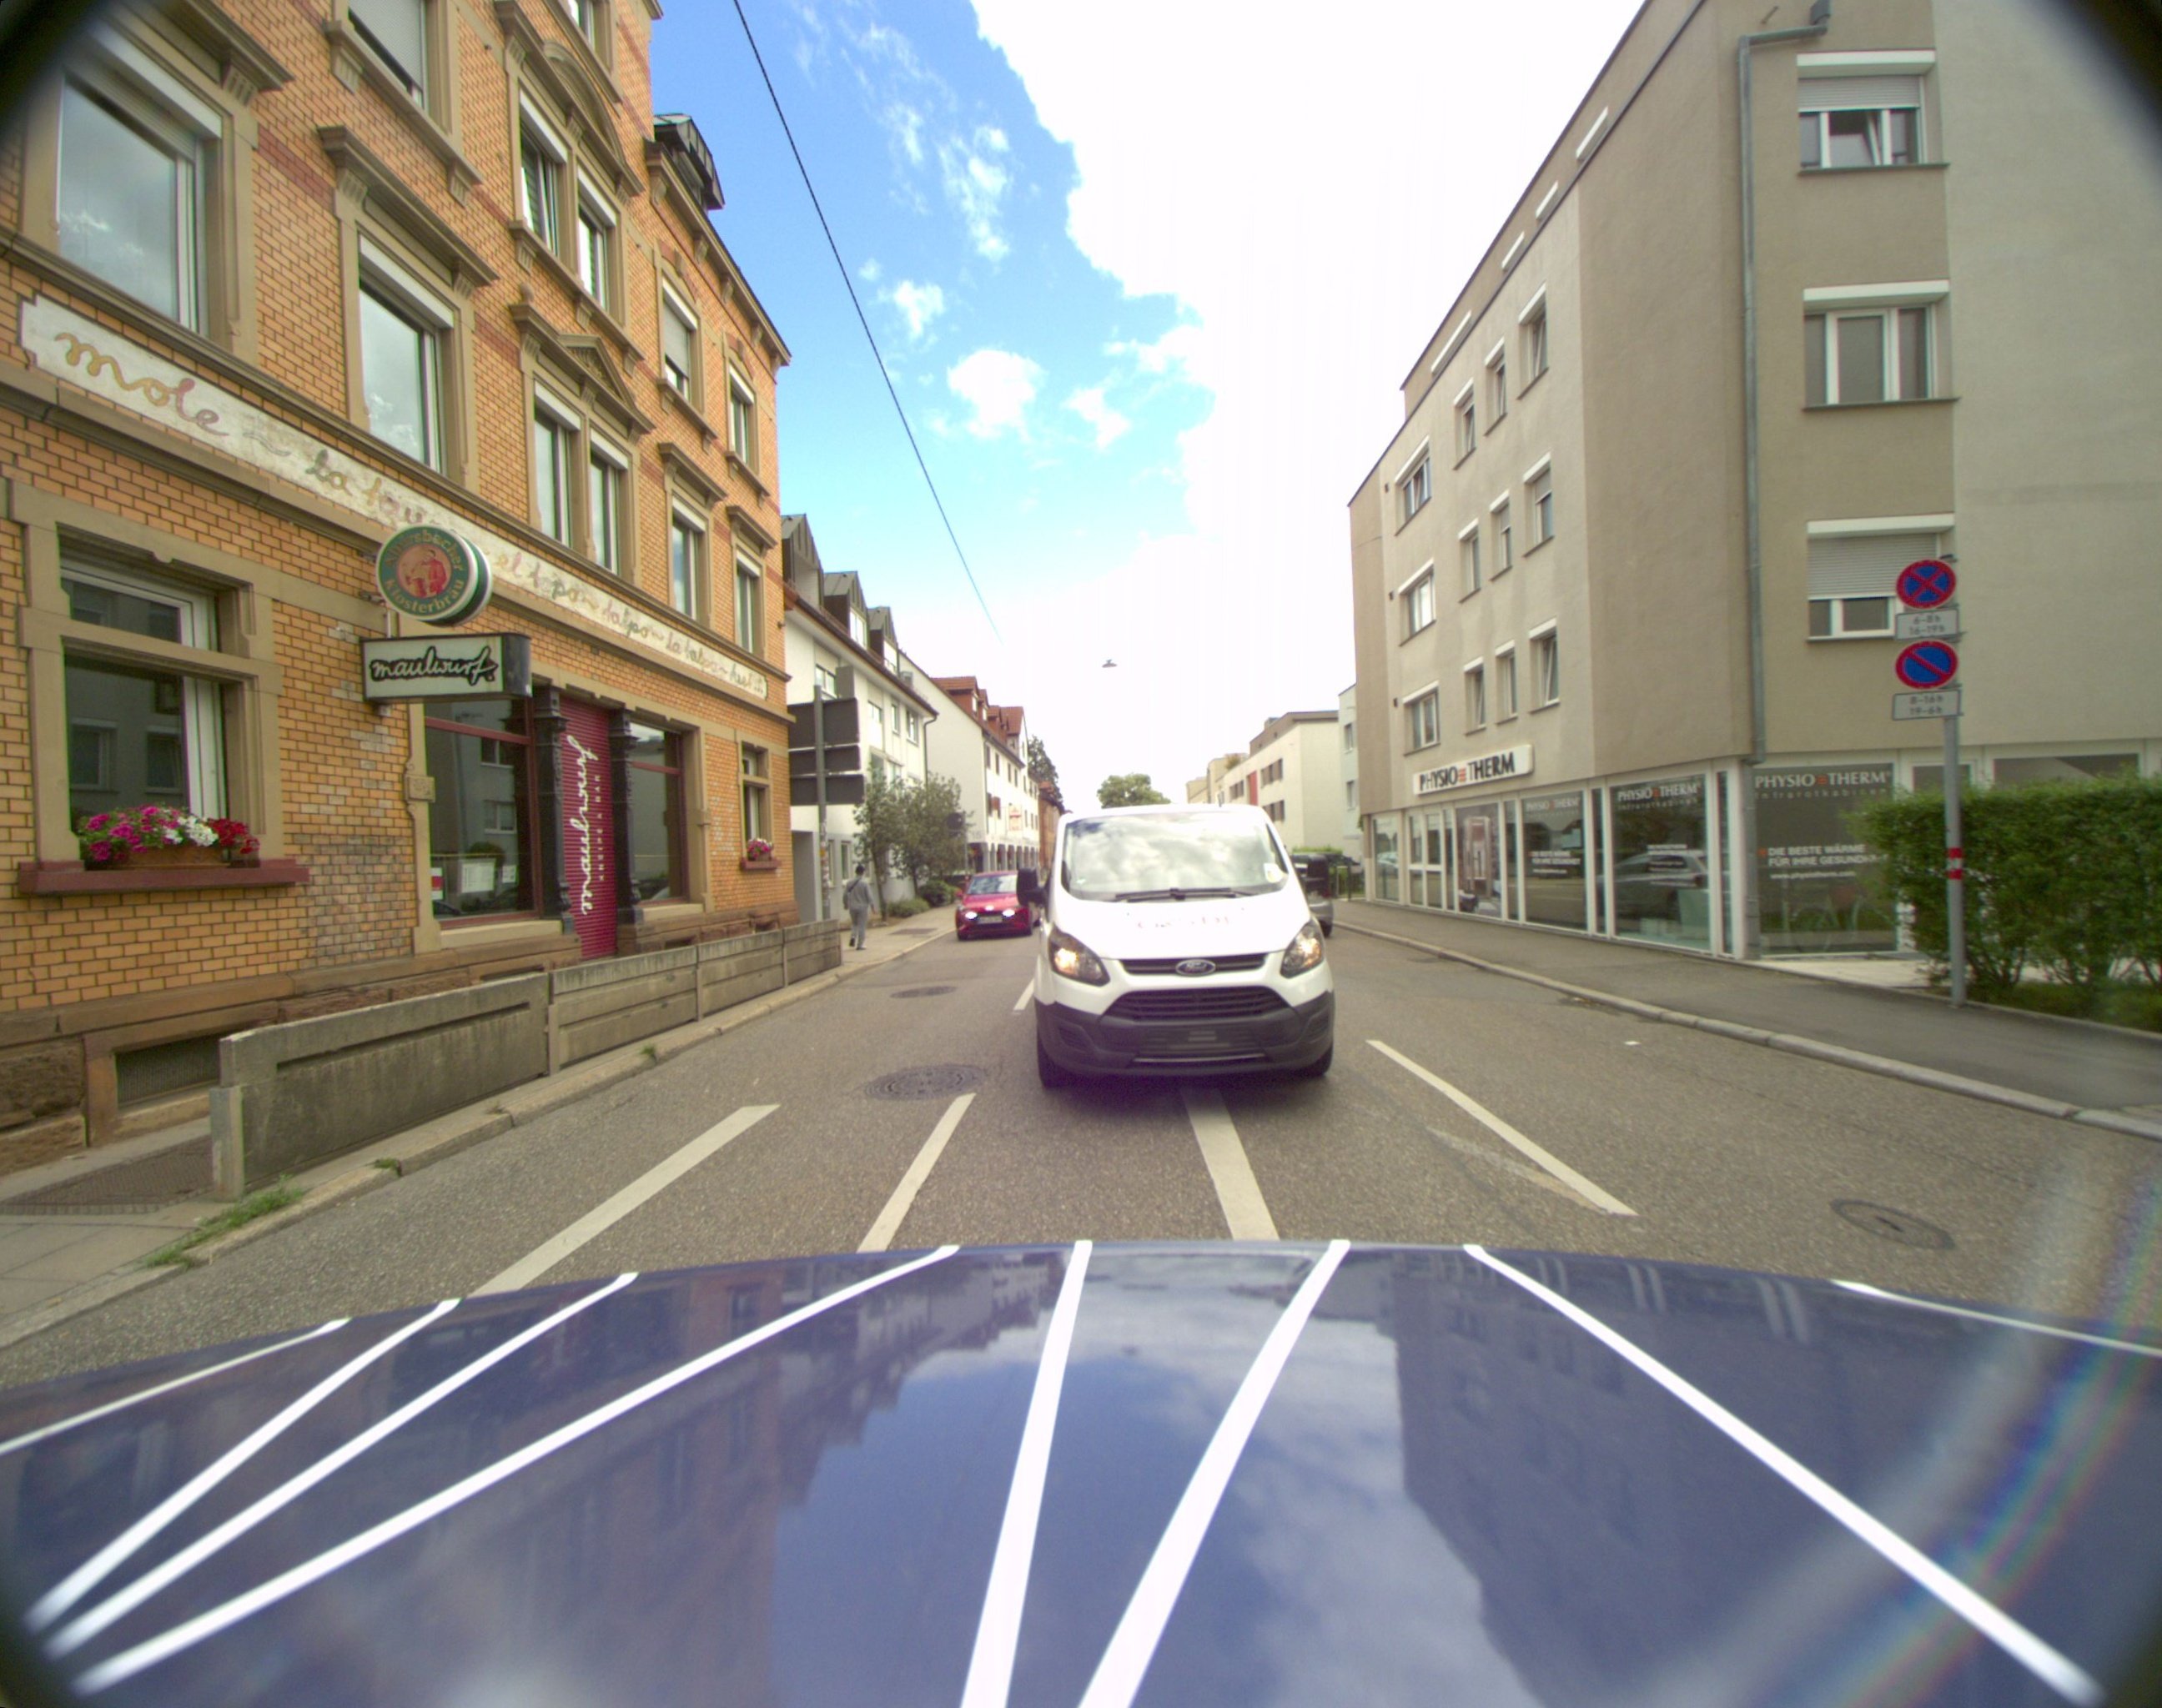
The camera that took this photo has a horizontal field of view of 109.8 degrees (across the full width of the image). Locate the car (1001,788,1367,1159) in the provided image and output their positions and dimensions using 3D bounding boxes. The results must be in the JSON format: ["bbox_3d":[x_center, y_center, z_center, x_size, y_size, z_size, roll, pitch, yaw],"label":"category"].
[{"bbox_3d":[0.587,0.672,6.739,1.965,1.986,5.087,-2,0,0],"label":"car"}]

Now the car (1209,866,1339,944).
[{"bbox_3d":[3.962,0.988,16.264,1.804,1.409,4.000,0,0,0],"label":"car"}]

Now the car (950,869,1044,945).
[{"bbox_3d":[-1.904,1.183,18.317,1.702,1.443,4.000,-4,0,0],"label":"car"}]

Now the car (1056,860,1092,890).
[{"bbox_3d":[-0.389,1.228,45.842,1.998,1.537,4.571,-4,0,0],"label":"car"}]

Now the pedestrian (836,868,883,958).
[{"bbox_3d":[-4.431,1.165,15.233,0.690,1.720,0.650,-2,0,0],"label":"pedestrian"}]

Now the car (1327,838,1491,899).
[{"bbox_3d":[11.788,0.509,27.597,5.082,1.986,1.967,-2,0,4],"label":"car"}]
